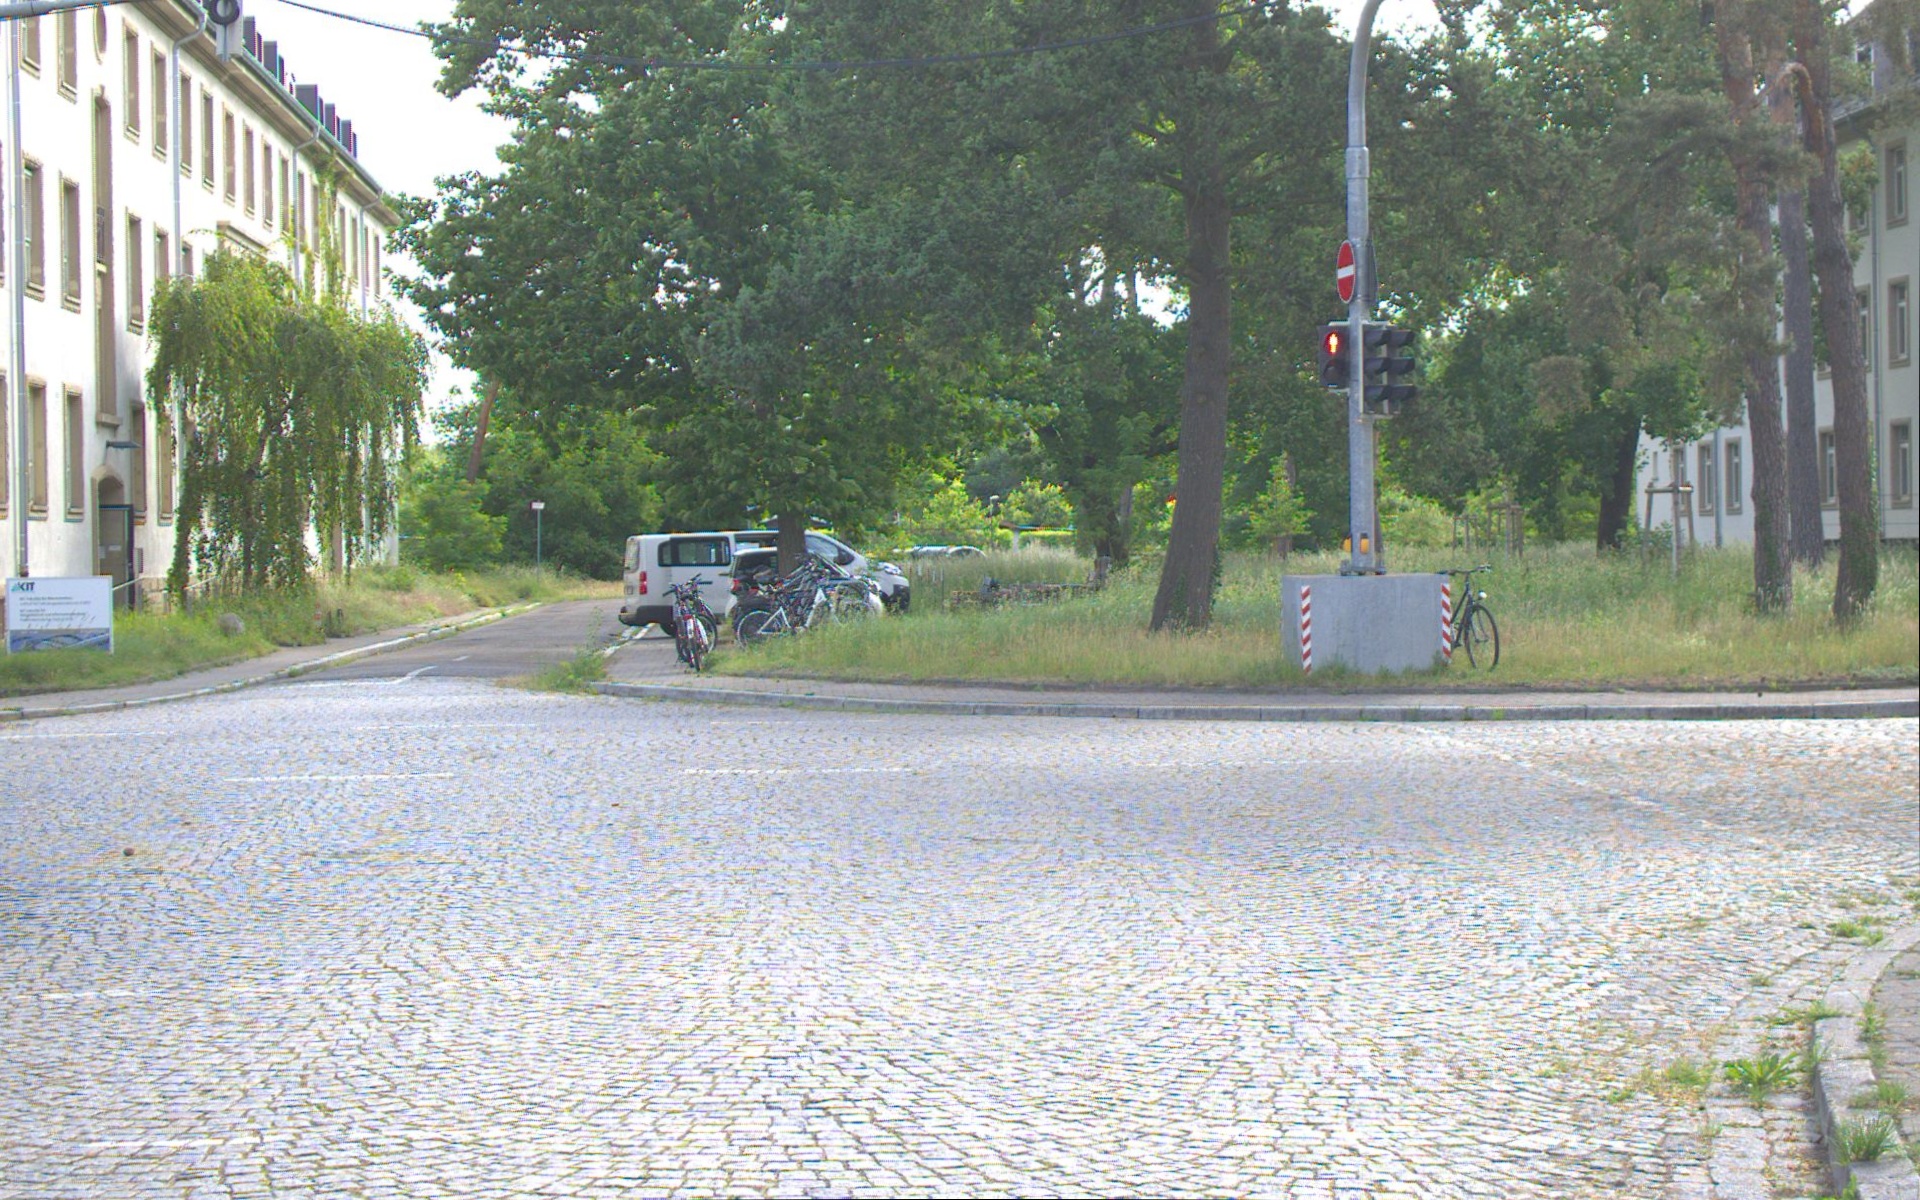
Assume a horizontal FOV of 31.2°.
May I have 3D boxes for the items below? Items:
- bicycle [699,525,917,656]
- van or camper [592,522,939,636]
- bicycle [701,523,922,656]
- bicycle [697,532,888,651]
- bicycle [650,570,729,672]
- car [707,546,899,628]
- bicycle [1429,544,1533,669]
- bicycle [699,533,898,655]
[{"bbox_3d":[-2.059,-0.140,46.343,2.775,1.688,1.120,-1,1,-10],"label":"bicycle"},{"bbox_3d":[-3.578,-0.402,63.064,6.030,1.942,2.001,-1,1,-17],"label":"van or camper"},{"bbox_3d":[-1.962,-0.148,45.152,2.775,1.688,1.120,-1,1,-9],"label":"bicycle"},{"bbox_3d":[-2.491,-0.131,51.233,2.775,1.688,1.120,1,1,-2],"label":"bicycle"},{"bbox_3d":[-3.195,0.230,40.807,0.725,1.104,2.462,-5,1,-2],"label":"bicycle"},{"bbox_3d":[-2.733,-0.237,59.527,3.137,1.349,1.620,-1,1,-9],"label":"car"},{"bbox_3d":[5.088,0.049,33.701,0.724,1.165,2.737,1,1,3],"label":"bicycle"},{"bbox_3d":[-2.327,-0.097,49.901,2.775,1.688,1.120,1,1,1],"label":"bicycle"}]
